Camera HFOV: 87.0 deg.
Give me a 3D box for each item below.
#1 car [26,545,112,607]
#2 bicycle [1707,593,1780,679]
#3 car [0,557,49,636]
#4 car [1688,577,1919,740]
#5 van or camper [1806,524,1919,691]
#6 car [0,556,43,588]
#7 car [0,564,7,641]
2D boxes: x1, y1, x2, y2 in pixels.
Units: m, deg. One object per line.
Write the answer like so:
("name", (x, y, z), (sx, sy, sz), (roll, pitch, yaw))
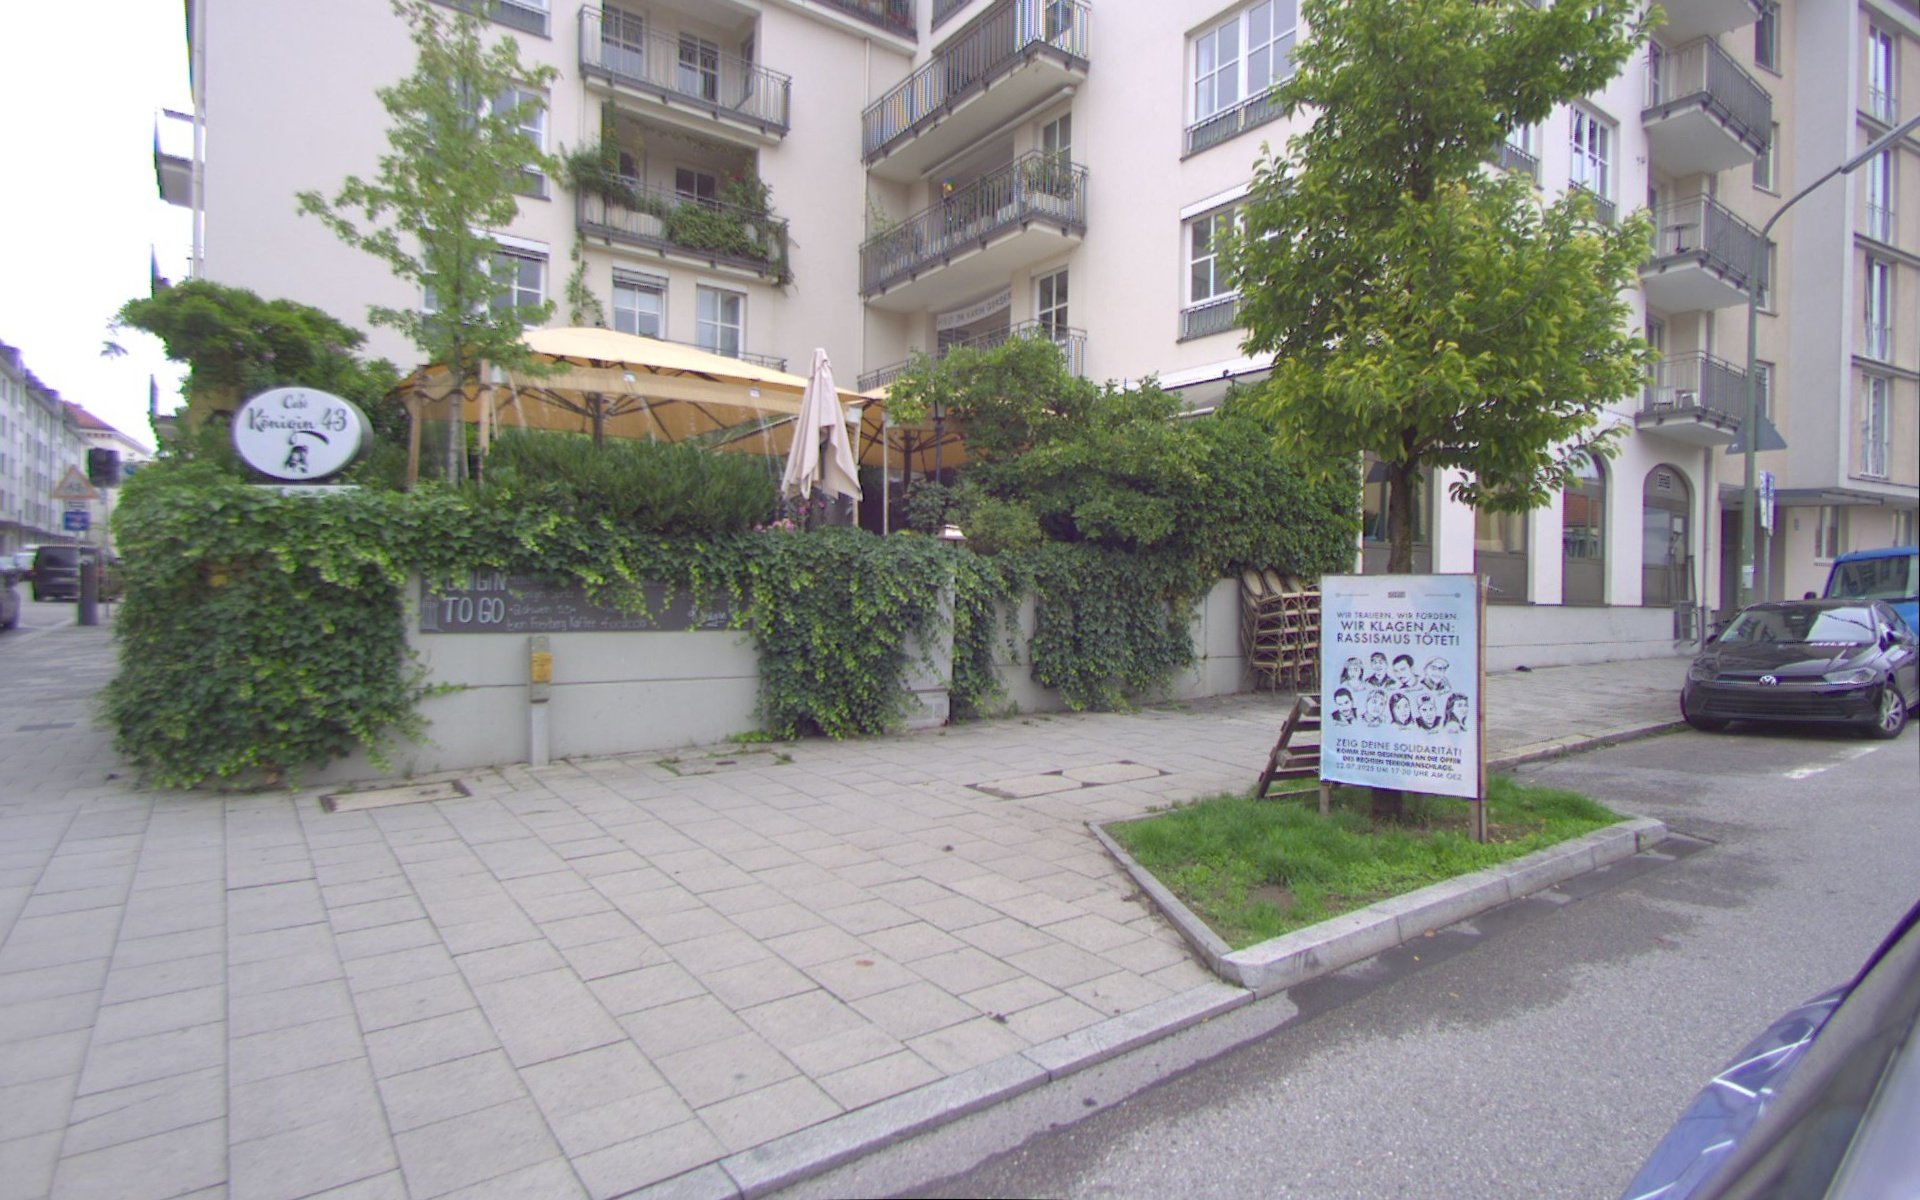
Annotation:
("car", (-30.399, -0.870, 34.636), (1.815, 1.964, 4.380), (1, 2, -37))
("bicycle", (11.738, 0.507, 15.146), (0.665, 1.203, 1.563), (1, 1, 45))
("car", (-20.176, -0.137, 20.747), (1.815, 1.457, 4.380), (1, 2, -37))
("car", (9.949, 0.581, 11.470), (3.886, 1.538, 1.707), (0, -2, -38))
("van or camper", (15.116, 0.130, 15.307), (5.333, 2.260, 2.067), (1, -3, -34))
("car", (-51.118, -1.525, 54.599), (1.815, 1.653, 4.285), (-1, 3, -34))
("car", (-16.696, 0.112, 16.030), (1.815, 1.348, 4.380), (1, 2, -37))
